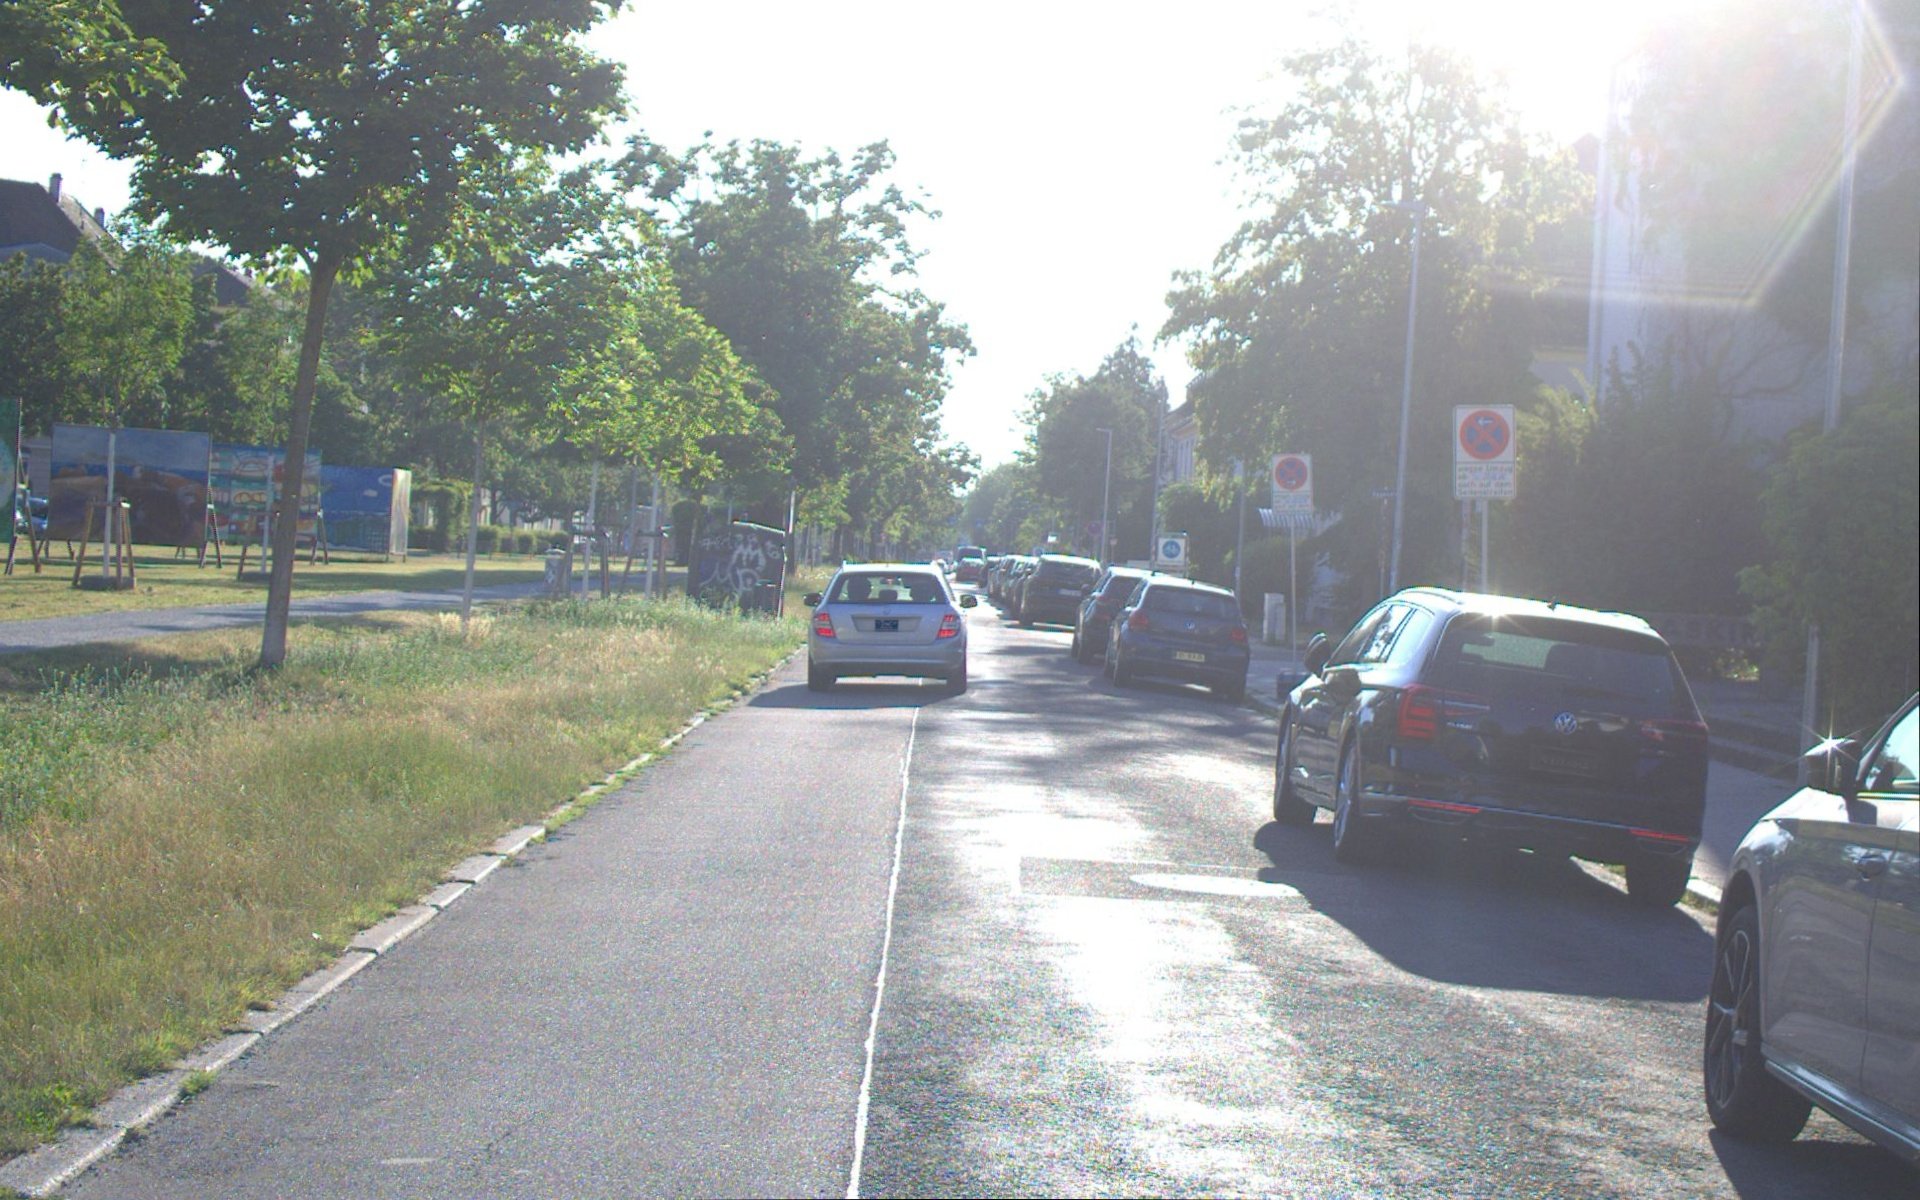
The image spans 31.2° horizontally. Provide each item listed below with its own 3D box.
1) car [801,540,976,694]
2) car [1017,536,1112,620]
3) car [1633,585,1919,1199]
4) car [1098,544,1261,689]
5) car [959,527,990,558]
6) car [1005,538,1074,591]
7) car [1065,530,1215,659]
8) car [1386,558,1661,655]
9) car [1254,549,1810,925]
[{"bbox_3d":[-0.760,0.150,38.902,1.823,1.561,4.000,2,1,0],"label":"car"},{"bbox_3d":[2.396,-0.511,79.849,1.832,1.726,5.032,5,0,-1],"label":"car"},{"bbox_3d":[3.033,0.828,8.319,1.883,1.531,4.461,6,0,1],"label":"car"},{"bbox_3d":[2.792,0.171,44.582,1.687,1.522,4.175,7,2,0],"label":"car"},{"bbox_3d":[1.002,-3.943,236.419,1.988,2.016,4.000,3,1,0],"label":"car"},{"bbox_3d":[2.482,-1.127,107.702,1.994,1.457,4.561,5,1,1],"label":"car"},{"bbox_3d":[2.650,-0.122,51.547,1.822,1.556,4.622,9,1,0],"label":"car"},{"bbox_3d":[10.766,0.133,65.936,4.846,1.481,2.002,4,-2,0],"label":"car"},{"bbox_3d":[2.984,0.646,19.104,1.993,1.592,4.887,7,0,-1],"label":"car"}]
